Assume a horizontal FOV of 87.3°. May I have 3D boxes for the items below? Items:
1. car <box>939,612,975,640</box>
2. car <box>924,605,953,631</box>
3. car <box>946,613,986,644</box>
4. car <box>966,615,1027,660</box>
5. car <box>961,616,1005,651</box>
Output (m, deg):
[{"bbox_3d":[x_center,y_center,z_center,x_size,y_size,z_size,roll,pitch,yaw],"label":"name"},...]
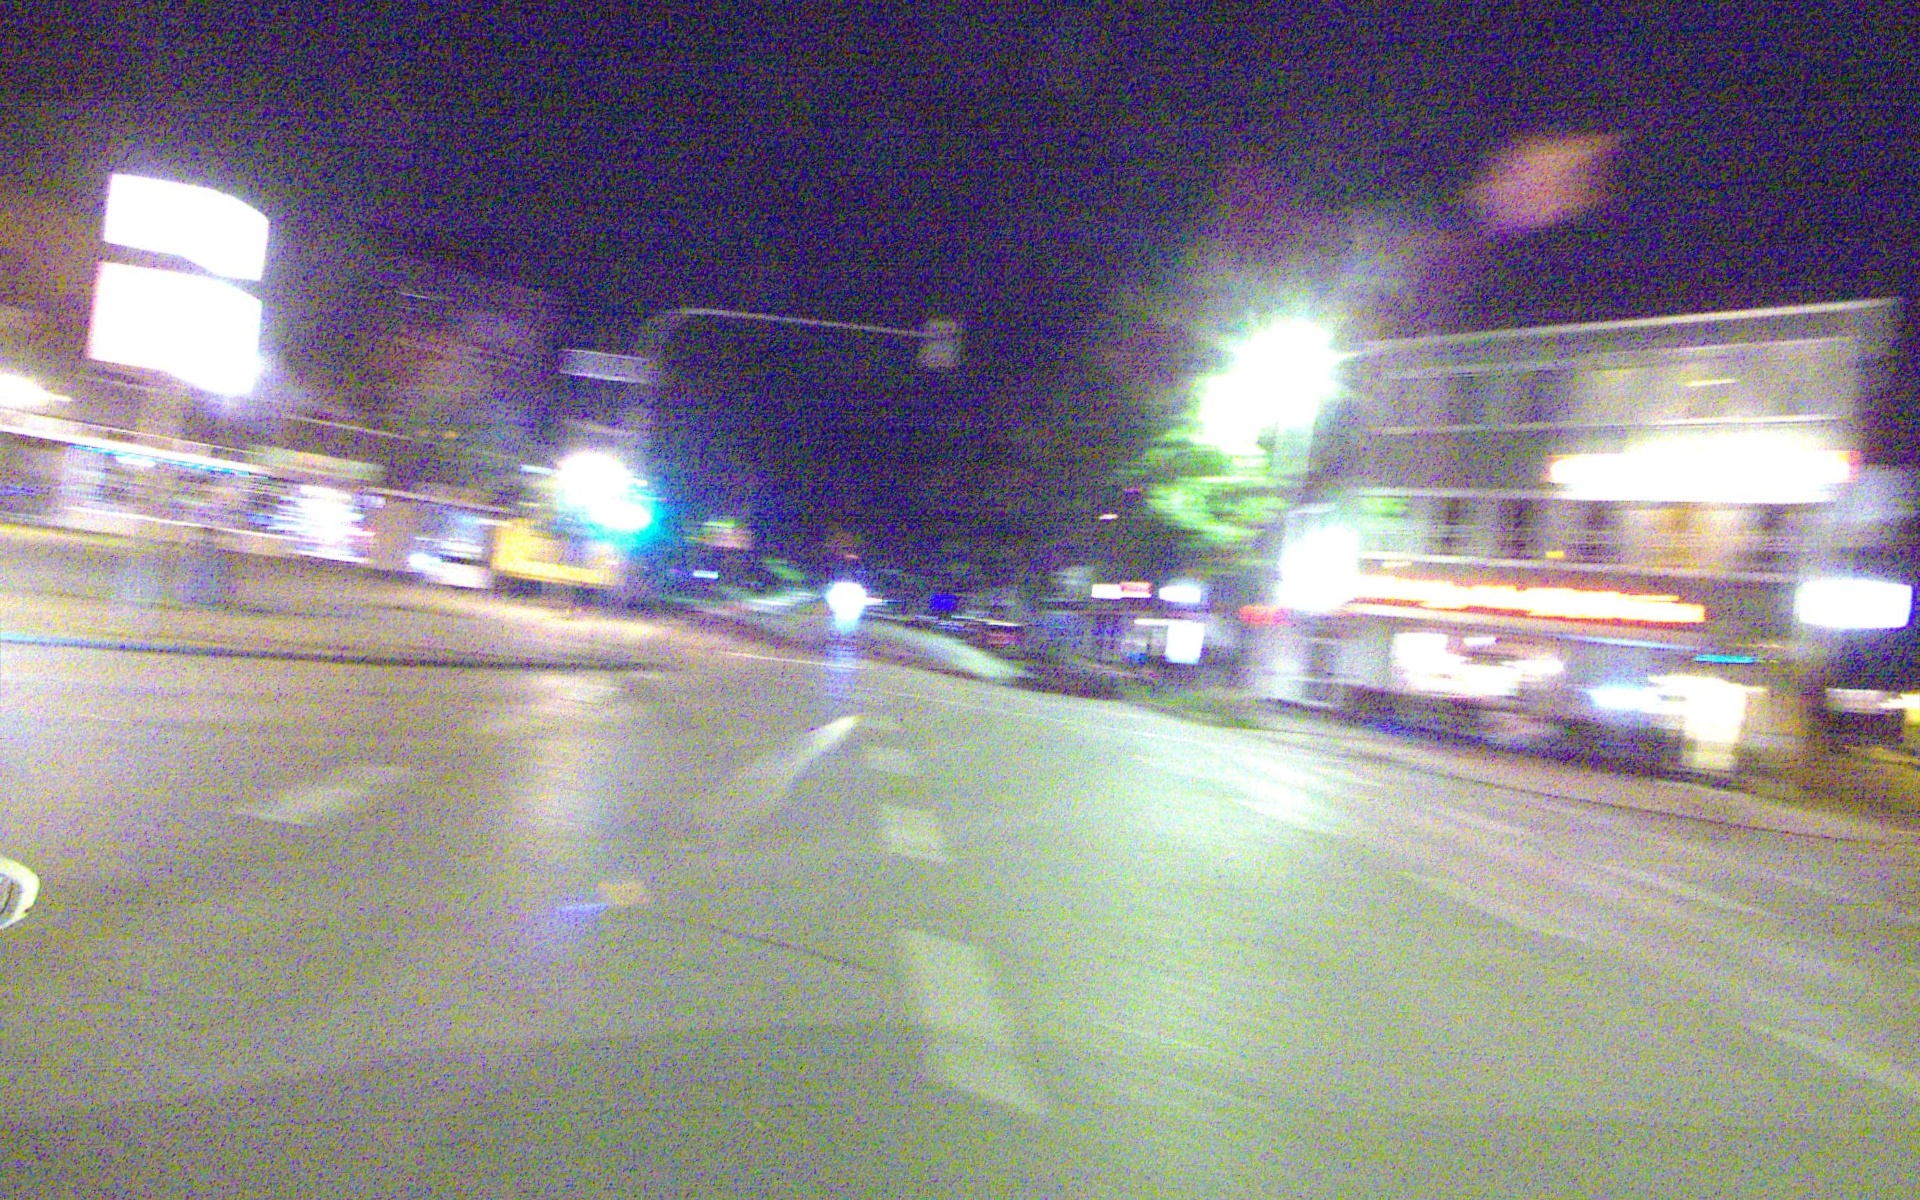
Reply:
[{"bbox_3d":[-0.227,1.684,66.296,1.863,1.469,3.892,10,-1,-5],"label":"car"},{"bbox_3d":[-1.755,1.417,79.535,1.978,1.644,3.894,10,-1,-3],"label":"car"},{"bbox_3d":[0.355,1.704,61.397,1.863,1.469,3.892,10,-1,-5],"label":"car"},{"bbox_3d":[1.736,1.788,49.016,1.846,1.672,3.854,10,-1,-12],"label":"car"},{"bbox_3d":[1.189,1.752,54.069,1.862,1.469,3.894,10,-1,-3],"label":"car"}]
